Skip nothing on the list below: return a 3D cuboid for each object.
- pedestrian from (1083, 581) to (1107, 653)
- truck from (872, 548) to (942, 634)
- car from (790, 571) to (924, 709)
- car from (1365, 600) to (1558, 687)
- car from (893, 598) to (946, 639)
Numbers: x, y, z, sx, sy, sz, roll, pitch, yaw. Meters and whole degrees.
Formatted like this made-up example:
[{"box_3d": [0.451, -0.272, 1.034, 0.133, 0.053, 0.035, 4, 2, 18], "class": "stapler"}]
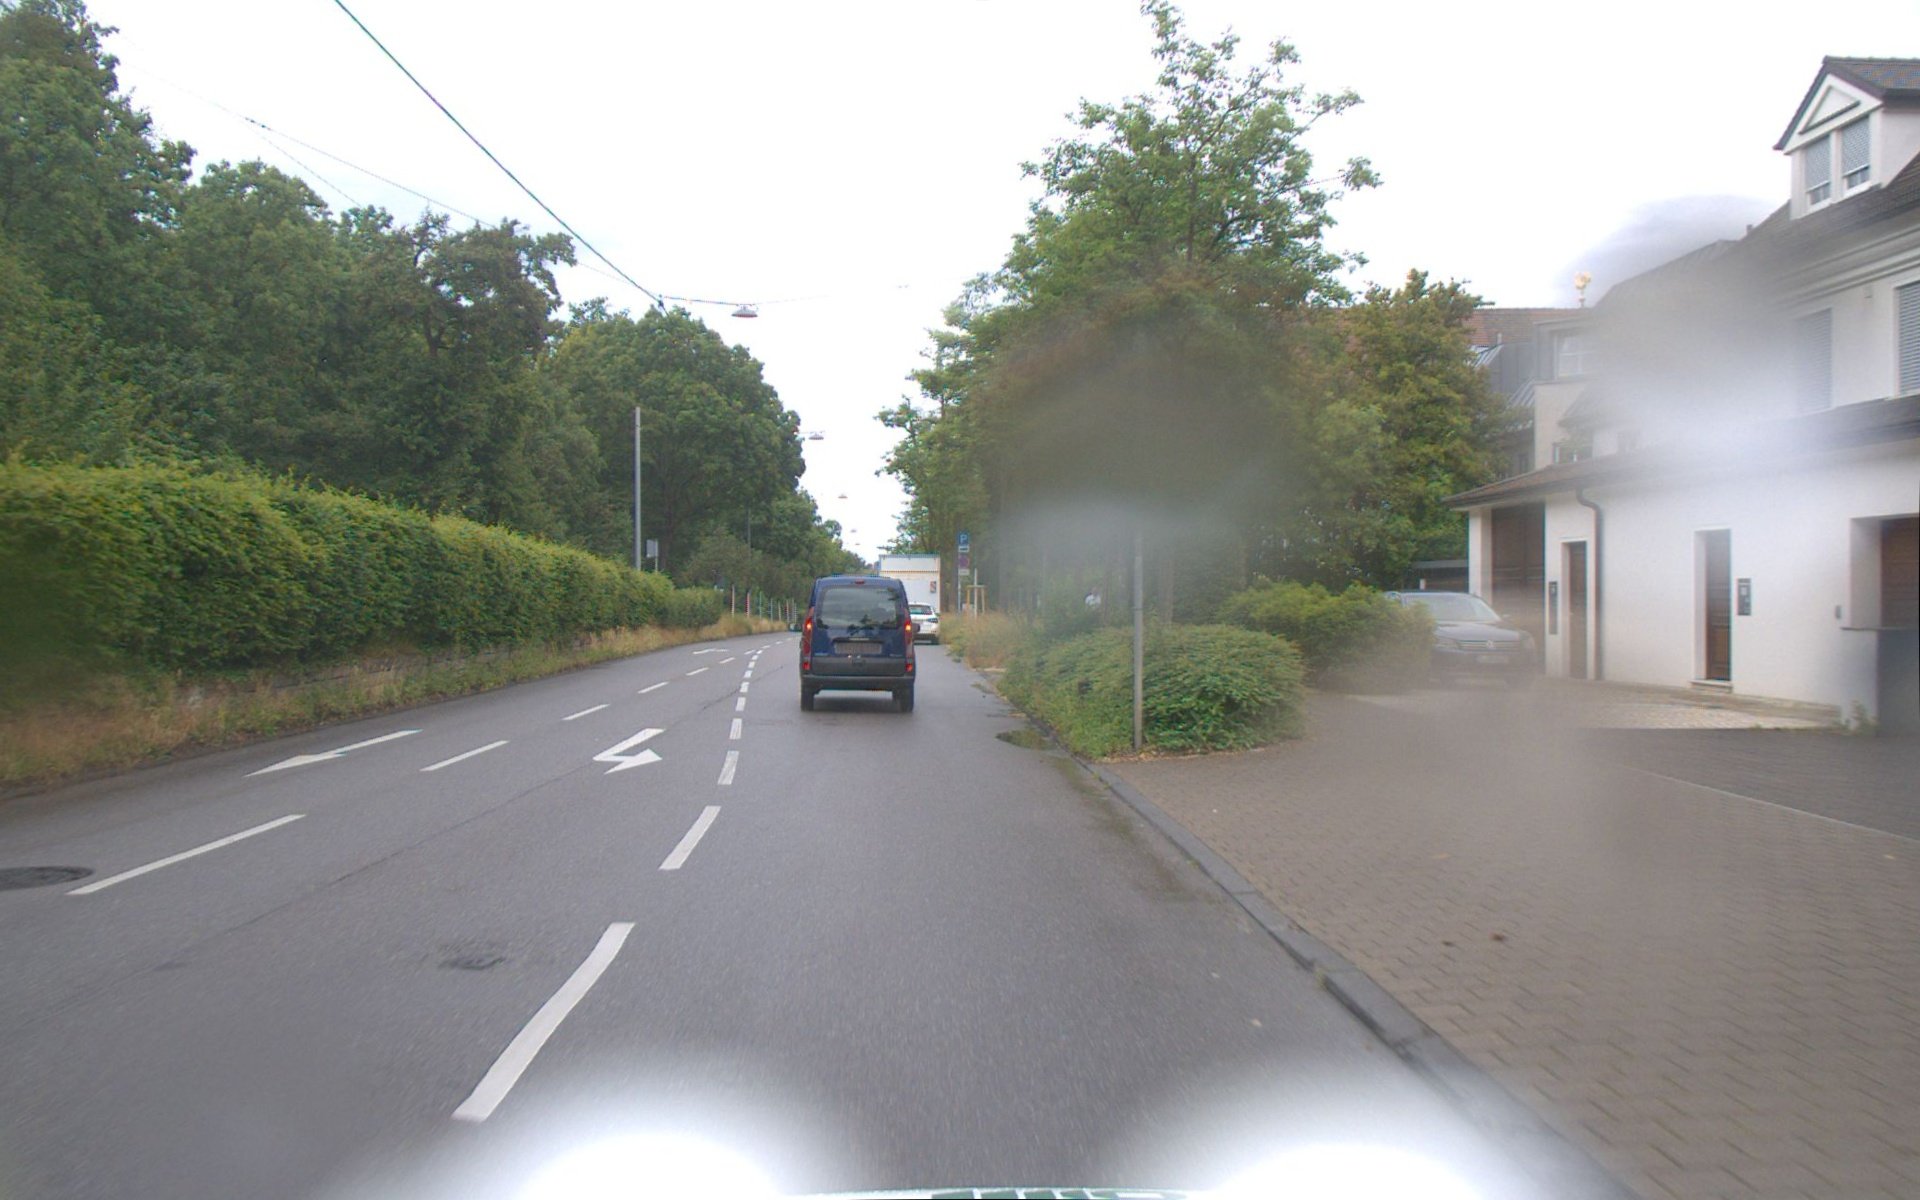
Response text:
[{"box_3d": [3.260, 0.404, 39.899, 0.549, 1.738, 0.516, 0, 0, 6], "class": "pedestrian"}, {"box_3d": [-2.320, -0.344, 70.203, 2.678, 3.446, 6.679, -1, 0, -4], "class": "truck"}, {"box_3d": [-1.497, 0.532, 24.176, 1.773, 1.829, 3.997, -1, 0, -3], "class": "car"}, {"box_3d": [7.535, 0.608, 25.218, 1.794, 1.197, 4.000, 1, 0, 1], "class": "car"}, {"box_3d": [-1.487, 0.643, 59.644, 1.777, 1.404, 4.282, -1, 0, -3], "class": "car"}]
